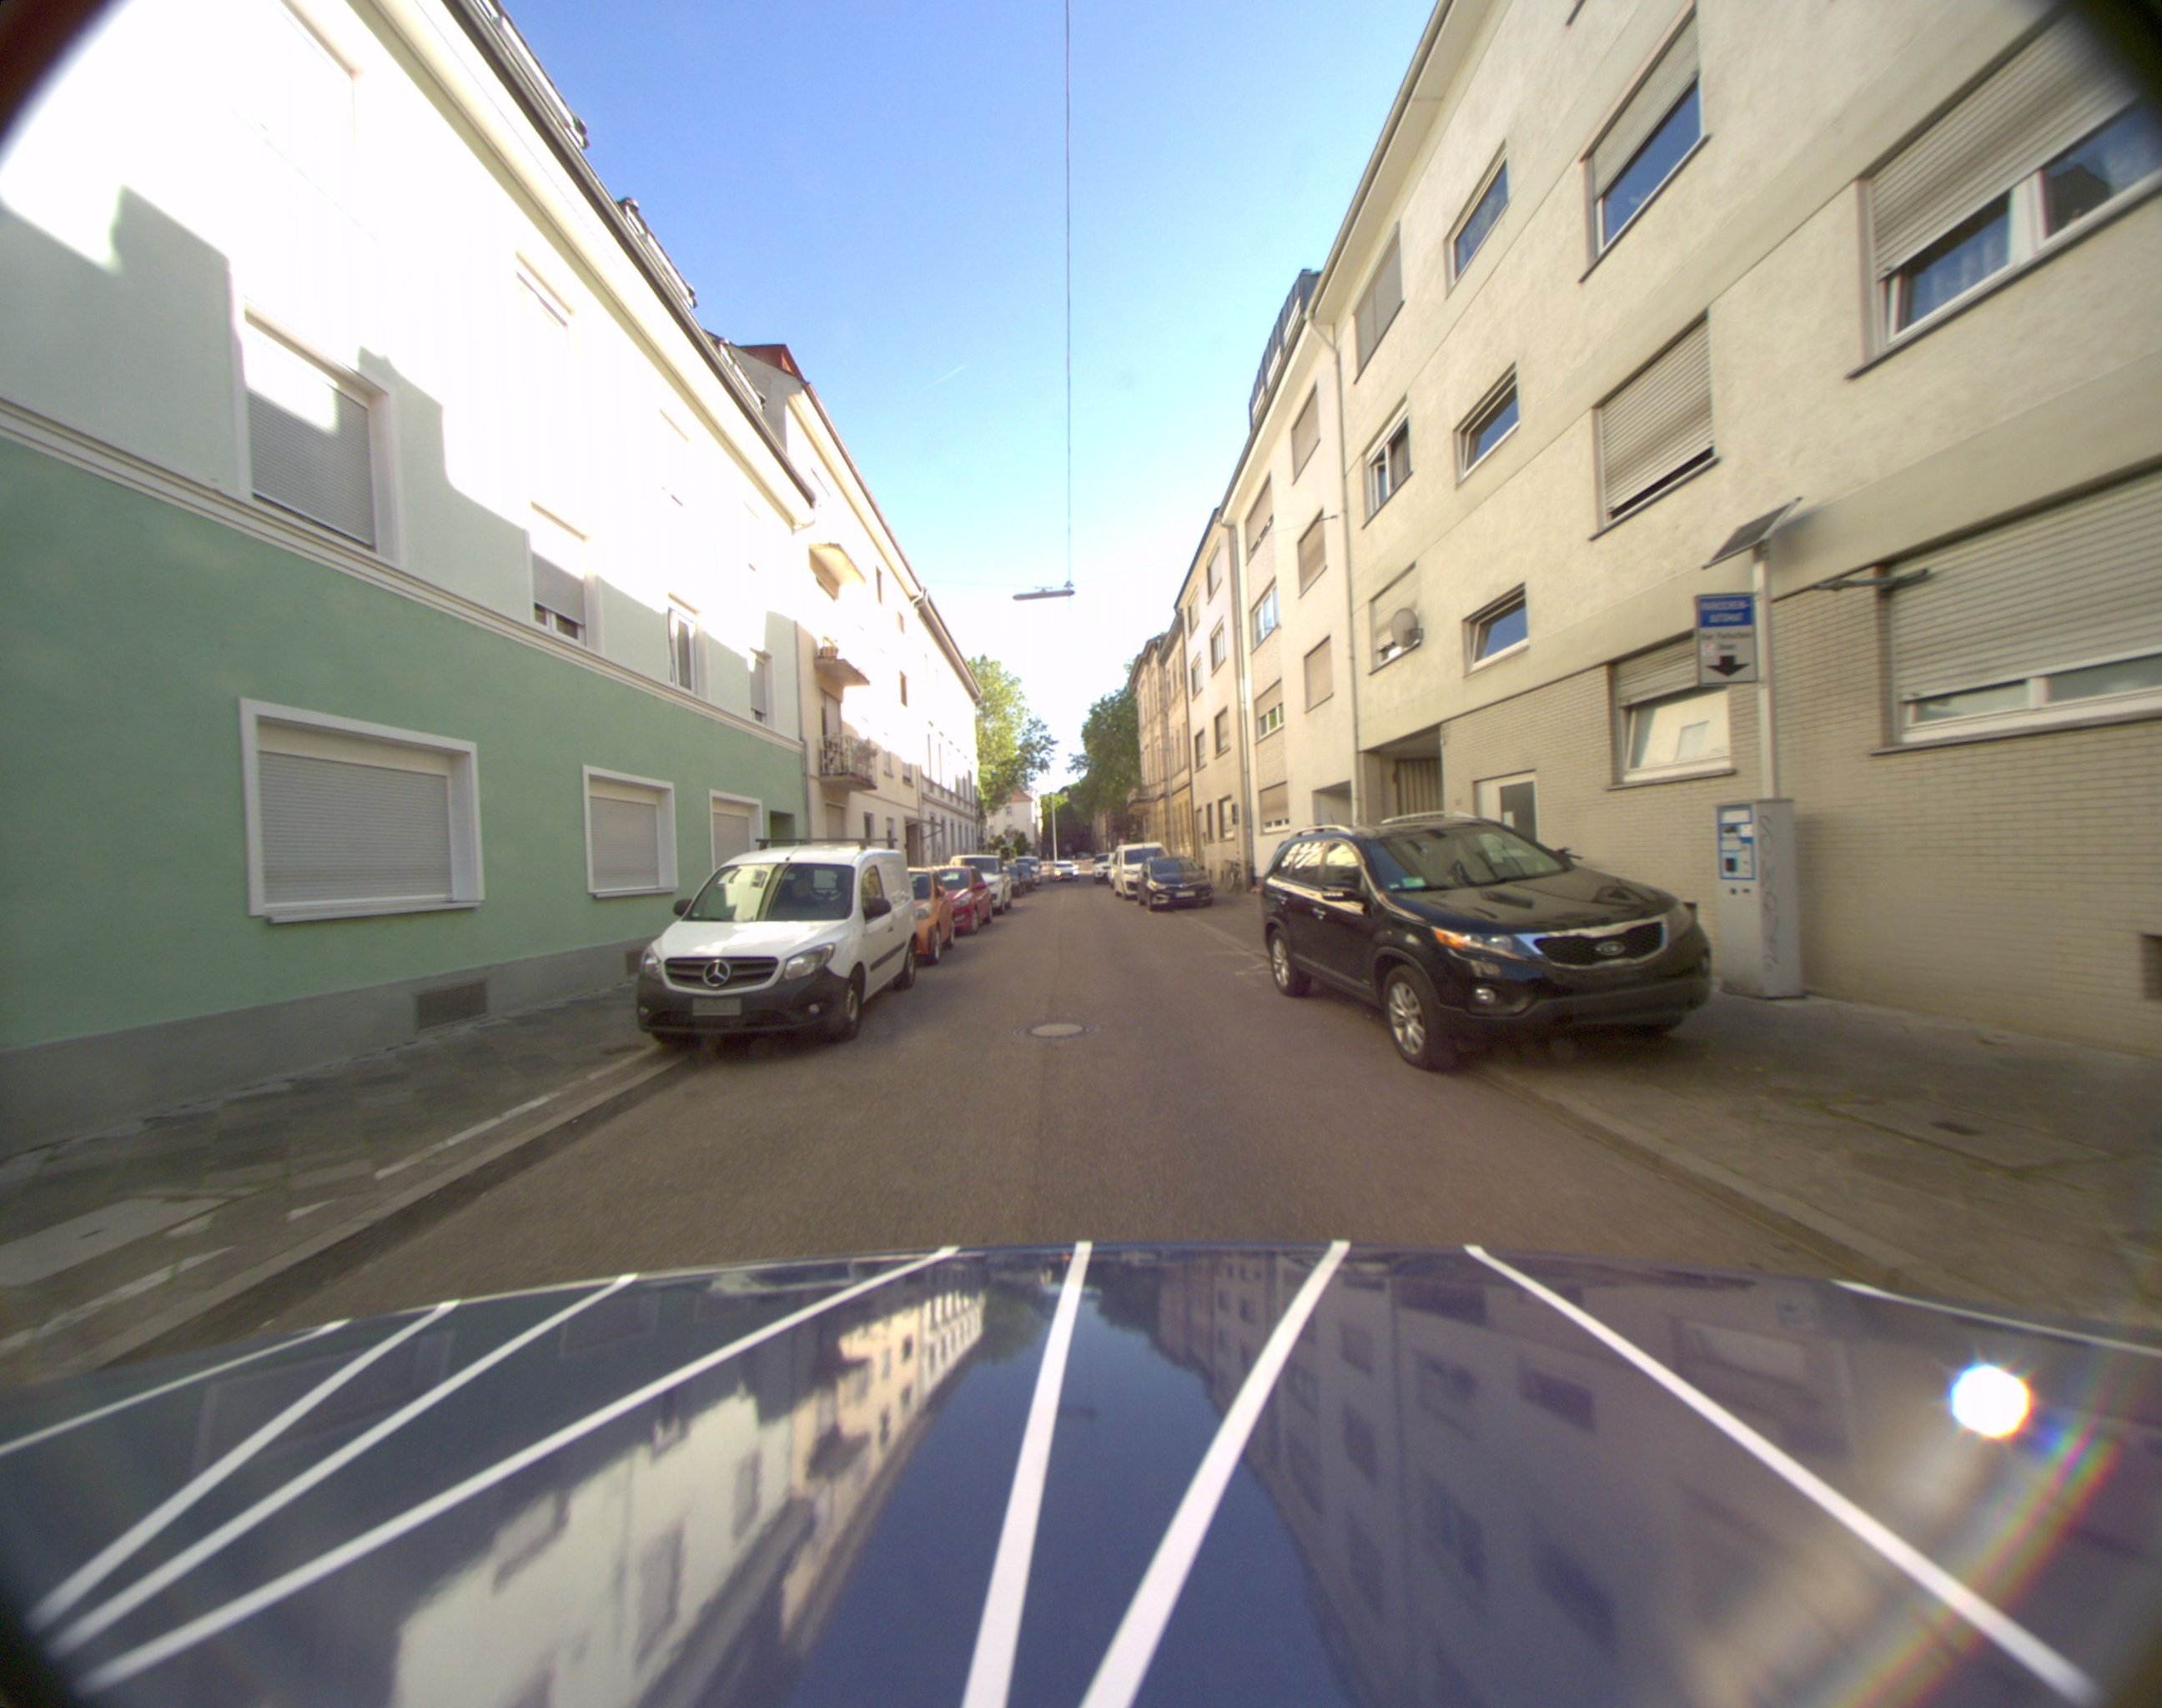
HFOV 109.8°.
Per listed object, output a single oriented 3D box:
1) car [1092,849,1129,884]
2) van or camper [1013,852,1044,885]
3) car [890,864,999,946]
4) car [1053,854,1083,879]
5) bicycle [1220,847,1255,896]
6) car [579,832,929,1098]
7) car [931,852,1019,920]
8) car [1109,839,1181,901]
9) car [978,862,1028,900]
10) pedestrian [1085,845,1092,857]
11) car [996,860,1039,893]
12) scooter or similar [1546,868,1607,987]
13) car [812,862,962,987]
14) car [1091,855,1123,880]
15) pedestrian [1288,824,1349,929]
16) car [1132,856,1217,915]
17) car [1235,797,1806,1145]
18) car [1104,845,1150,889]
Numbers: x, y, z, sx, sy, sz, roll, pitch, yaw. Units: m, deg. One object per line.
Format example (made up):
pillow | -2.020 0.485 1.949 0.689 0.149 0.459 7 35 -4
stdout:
car | 1.833 0.745 48.127 2.027 2.002 4.542 -2 0 0
van or camper | -3.479 0.953 51.114 1.899 2.002 5.030 -2 0 -2
car | -2.974 1.056 17.333 1.747 1.559 4.032 -2 0 -1
car | -0.945 0.940 56.396 2.010 1.694 4.503 -2 0 -1
bicycle | 5.106 0.558 24.902 0.559 1.500 1.799 -4 0 -4
car | -2.911 0.828 7.939 1.787 1.950 4.335 -2 1 -2
car | -3.117 0.904 23.388 2.010 1.773 4.938 -2 0 -1
car | 2.257 0.569 28.118 1.899 1.946 4.780 -5 0 -3
car | -3.411 1.167 33.885 1.751 1.440 3.869 -4 0 -1
pedestrian | 1.126 -0.425 112.169 0.761 1.651 0.826 -3 0 -28
car | -3.246 1.130 39.799 1.819 1.510 4.727 -4 0 -1
scooter or similar | 5.873 0.825 8.984 0.437 1.270 1.236 -1 1 41
car | -3.006 1.009 12.503 1.585 1.622 3.681 -4 0 -3
car | 1.810 0.911 54.568 1.872 1.552 3.941 -4 1 -2
pedestrian | 4.589 0.430 14.708 0.808 1.923 0.690 -5 1 -1
car | 2.595 0.824 22.003 1.711 1.442 4.301 -3 0 -2
car | 2.940 0.665 6.507 1.885 1.745 4.541 -6 0 -4
car | 2.207 0.623 37.393 1.749 1.865 4.090 -6 0 -1
